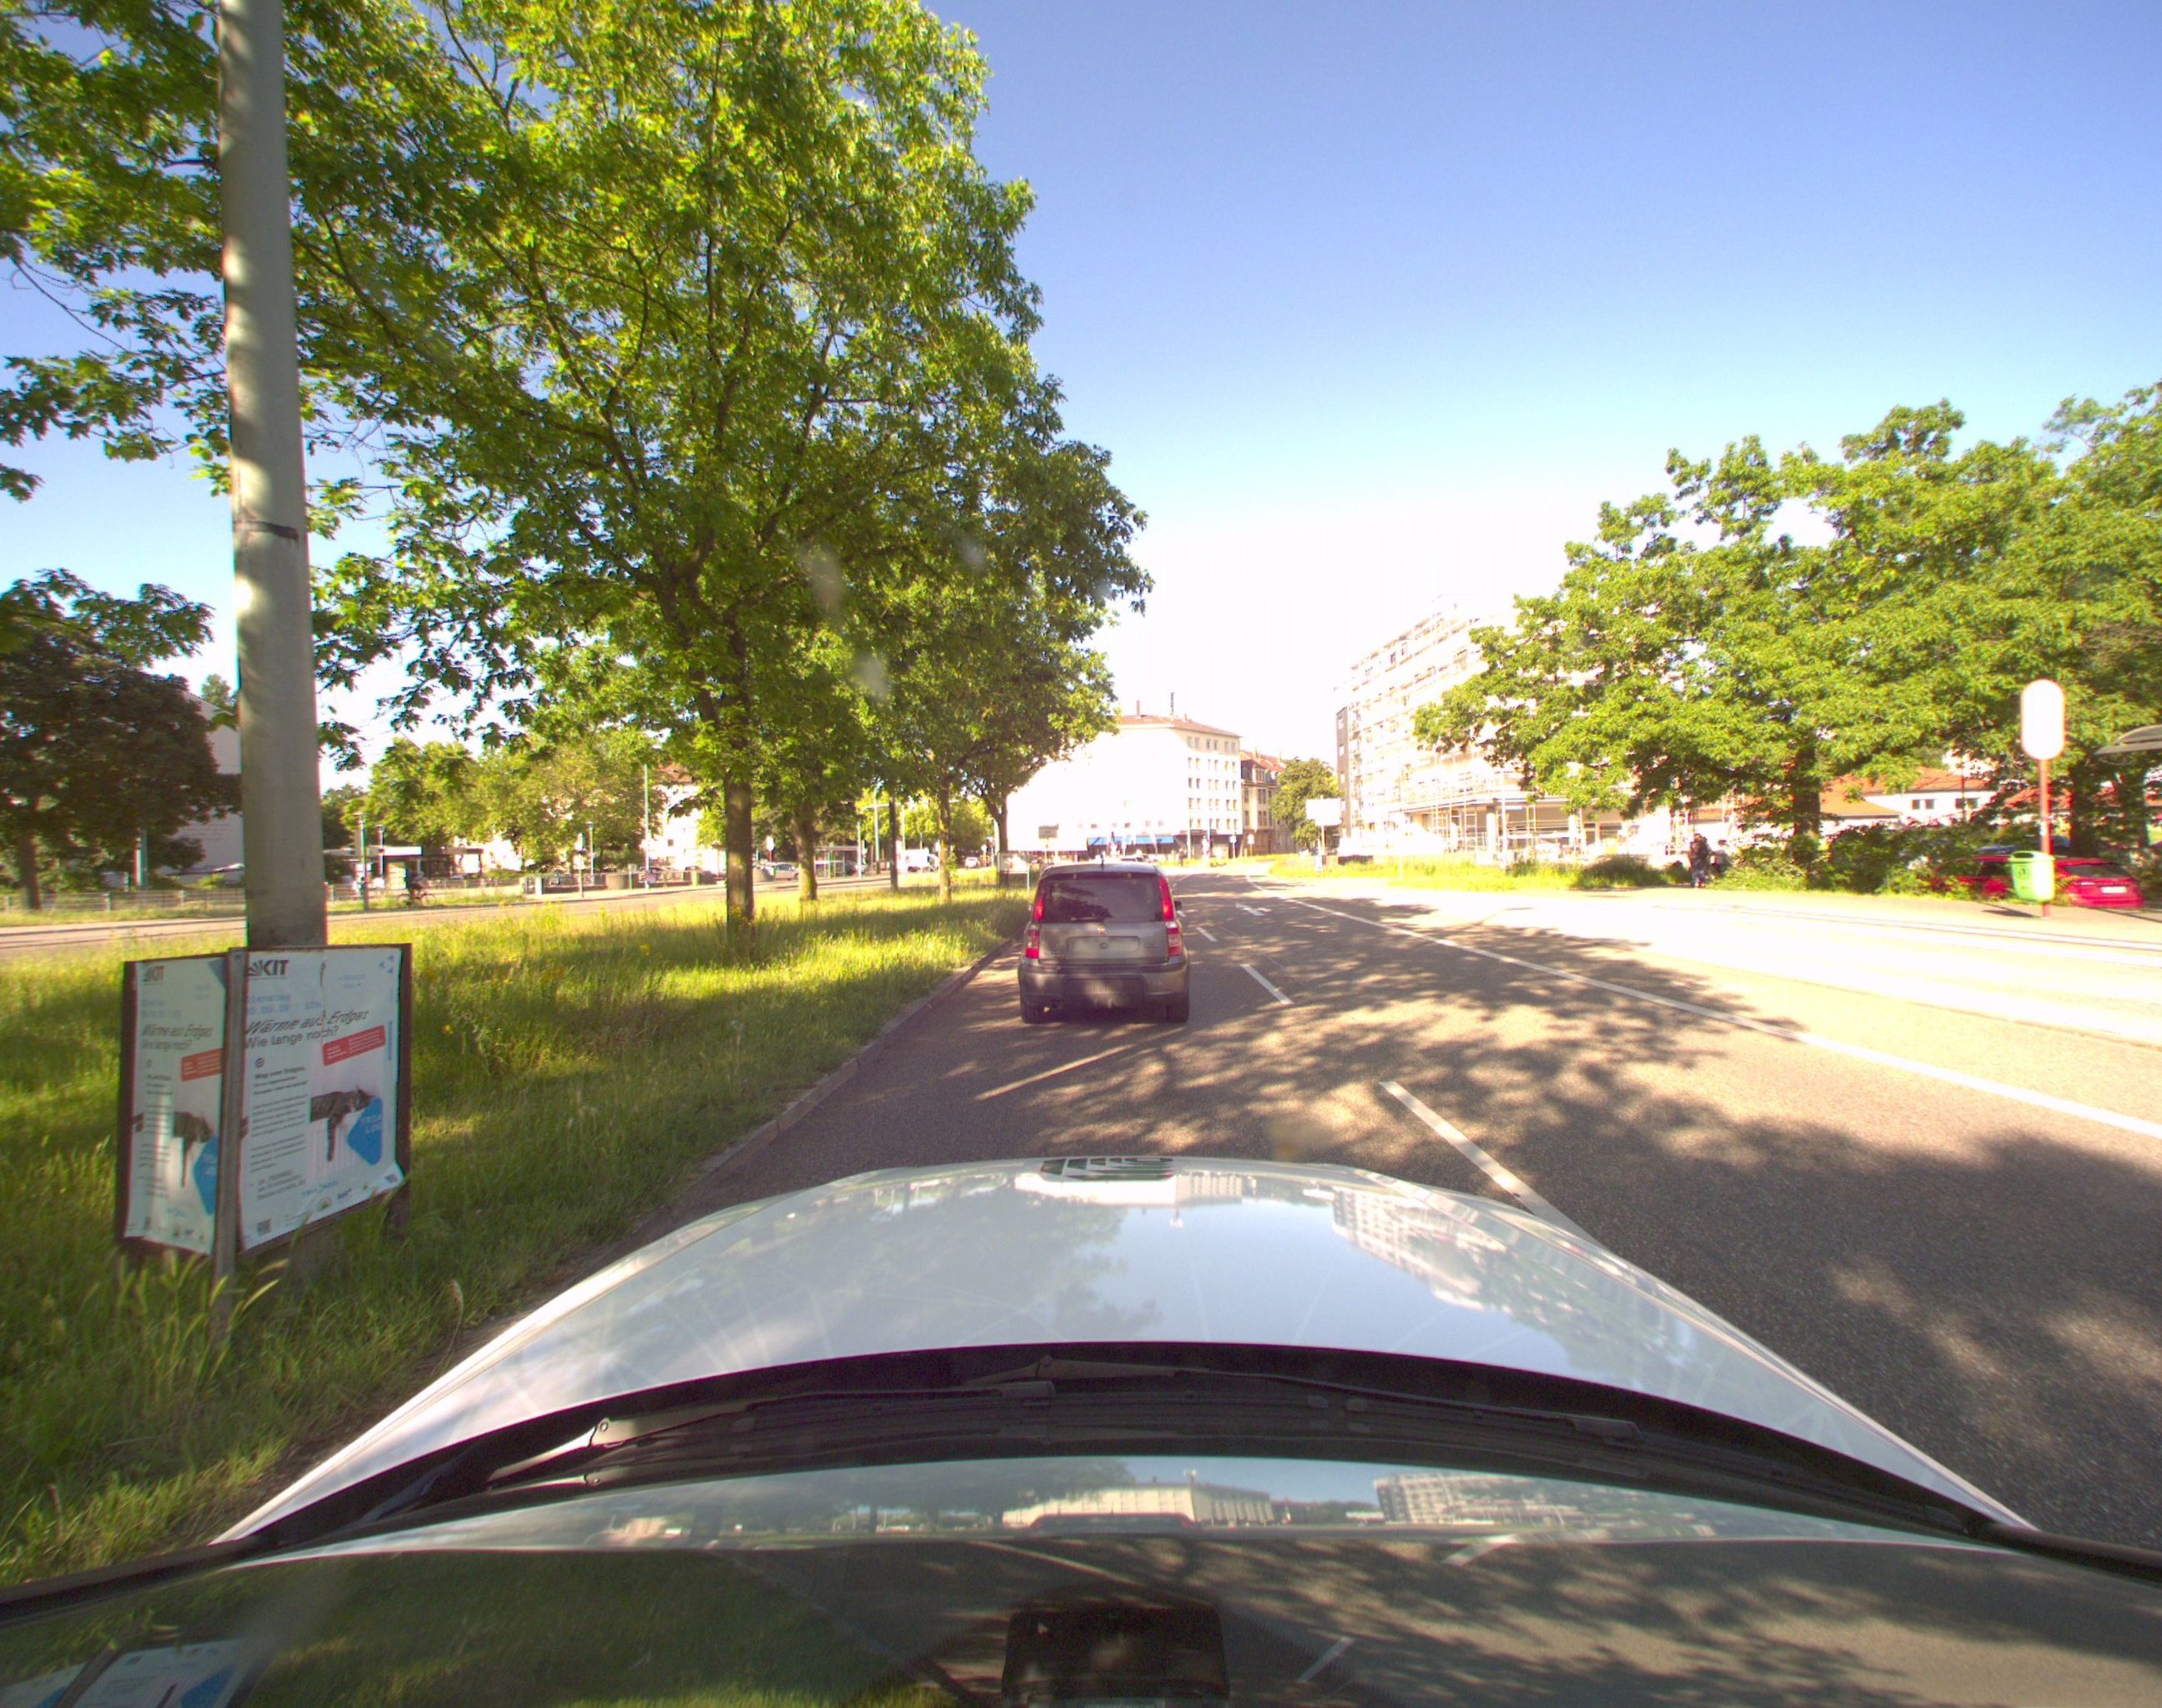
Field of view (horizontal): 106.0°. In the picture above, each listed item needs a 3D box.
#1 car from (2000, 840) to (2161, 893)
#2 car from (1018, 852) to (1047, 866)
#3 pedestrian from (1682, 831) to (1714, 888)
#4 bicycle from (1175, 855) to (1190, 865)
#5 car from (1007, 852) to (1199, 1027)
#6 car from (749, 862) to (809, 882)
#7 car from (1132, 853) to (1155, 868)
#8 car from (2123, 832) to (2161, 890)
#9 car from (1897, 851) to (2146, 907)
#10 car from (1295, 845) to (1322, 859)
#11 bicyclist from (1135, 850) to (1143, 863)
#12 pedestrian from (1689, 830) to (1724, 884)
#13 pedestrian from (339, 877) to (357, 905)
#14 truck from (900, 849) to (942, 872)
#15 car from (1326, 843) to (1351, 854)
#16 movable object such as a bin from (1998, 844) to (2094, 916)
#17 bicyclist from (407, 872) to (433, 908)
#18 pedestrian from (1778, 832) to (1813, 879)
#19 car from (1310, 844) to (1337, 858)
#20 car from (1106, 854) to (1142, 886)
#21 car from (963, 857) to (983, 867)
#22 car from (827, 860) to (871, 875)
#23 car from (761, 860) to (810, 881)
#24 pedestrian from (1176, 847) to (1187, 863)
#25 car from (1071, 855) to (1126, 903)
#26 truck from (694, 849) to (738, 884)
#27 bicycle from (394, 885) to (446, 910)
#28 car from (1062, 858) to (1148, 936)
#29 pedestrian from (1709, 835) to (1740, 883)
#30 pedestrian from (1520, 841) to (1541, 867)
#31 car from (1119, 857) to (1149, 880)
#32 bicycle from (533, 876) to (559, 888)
[{"bbox_3d":[33.660,0.406,27.040,1.984,1.607,4.006,0,-1,5],"label":"car"},{"bbox_3d":[-5.586,0.580,93.553,1.670,1.501,3.553,-2,0,-36],"label":"car"},{"bbox_3d":[18.598,0.158,24.551,0.600,1.700,0.410,-2,0,1],"label":"pedestrian"},{"bbox_3d":[9.377,0.549,75.425,0.783,0.951,1.848,0,-1,-12],"label":"bicycle"},{"bbox_3d":[0.291,0.755,8.847,1.653,1.510,3.254,-2,0,3],"label":"car"},{"bbox_3d":[-26.531,1.545,71.624,1.849,1.544,4.576,2,3,45],"label":"car"},{"bbox_3d":[5.576,0.543,72.728,1.985,1.243,4.004,-1,0,3],"label":"car"},{"bbox_3d":[29.703,0.265,20.078,1.984,1.537,4.897,0,2,5],"label":"car"},{"bbox_3d":[21.903,0.529,19.227,1.392,1.154,3.912,-2,0,1],"label":"car"},{"bbox_3d":[25.093,-0.213,89.730,1.757,1.442,3.642,-1,1,34],"label":"car"},{"bbox_3d":[5.951,0.258,83.670,0.531,1.357,0.594,-2,0,-18],"label":"bicyclist"},{"bbox_3d":[19.191,0.097,24.996,0.619,1.634,0.552,-2,0,2],"label":"pedestrian"},{"bbox_3d":[-50.016,2.526,55.550,0.553,1.829,0.731,-2,0,23],"label":"pedestrian"},{"bbox_3d":[-17.723,0.691,90.338,4.074,2.427,1.798,-2,0,7],"label":"truck"},{"bbox_3d":[37.923,-0.792,120.084,1.905,1.594,3.985,-2,0,-11],"label":"car"},{"bbox_3d":[14.360,0.383,12.137,0.724,1.030,0.578,-2,0,1],"label":"movable object such as a bin"},{"bbox_3d":[-29.209,1.575,35.974,0.606,1.530,0.680,0,1,30],"label":"bicyclist"},{"bbox_3d":[24.777,0.058,28.238,0.701,1.620,0.566,0,-1,-4],"label":"pedestrian"},{"bbox_3d":[27.960,-0.325,93.793,1.802,1.508,4.026,-2,0,35],"label":"car"},{"bbox_3d":[2.101,0.753,39.346,1.639,1.438,3.399,-2,0,3],"label":"car"},{"bbox_3d":[-14.403,1.068,108.466,1.986,1.310,4.002,-2,0,2],"label":"car"},{"bbox_3d":[-25.625,1.481,90.086,4.378,1.448,1.666,-2,0,-4],"label":"car"},{"bbox_3d":[-27.107,1.508,74.854,1.741,1.717,4.025,2,2,29],"label":"car"},{"bbox_3d":[9.340,0.072,75.578,0.774,1.427,0.935,0,-1,-12],"label":"pedestrian"},{"bbox_3d":[0.623,0.828,29.037,1.754,1.486,4.294,-2,0,1],"label":"car"},{"bbox_3d":[-33.327,1.137,74.287,4.768,2.994,2.012,-1,1,44],"label":"truck"},{"bbox_3d":[-29.182,1.892,35.992,0.606,1.001,1.669,-2,0,30],"label":"bicycle"},{"bbox_3d":[0.524,0.843,17.538,1.615,1.429,3.690,-2,0,2],"label":"car"},{"bbox_3d":[20.873,0.167,26.421,0.525,1.518,0.614,-1,0,4],"label":"pedestrian"},{"bbox_3d":[26.128,0.017,47.377,0.649,1.497,0.907,-1,0,-6],"label":"pedestrian"},{"bbox_3d":[3.173,0.848,48.342,1.683,1.253,3.630,-2,0,4],"label":"car"},{"bbox_3d":[-43.069,2.262,65.563,1.695,0.839,0.541,-2,0,-41],"label":"bicycle"}]
